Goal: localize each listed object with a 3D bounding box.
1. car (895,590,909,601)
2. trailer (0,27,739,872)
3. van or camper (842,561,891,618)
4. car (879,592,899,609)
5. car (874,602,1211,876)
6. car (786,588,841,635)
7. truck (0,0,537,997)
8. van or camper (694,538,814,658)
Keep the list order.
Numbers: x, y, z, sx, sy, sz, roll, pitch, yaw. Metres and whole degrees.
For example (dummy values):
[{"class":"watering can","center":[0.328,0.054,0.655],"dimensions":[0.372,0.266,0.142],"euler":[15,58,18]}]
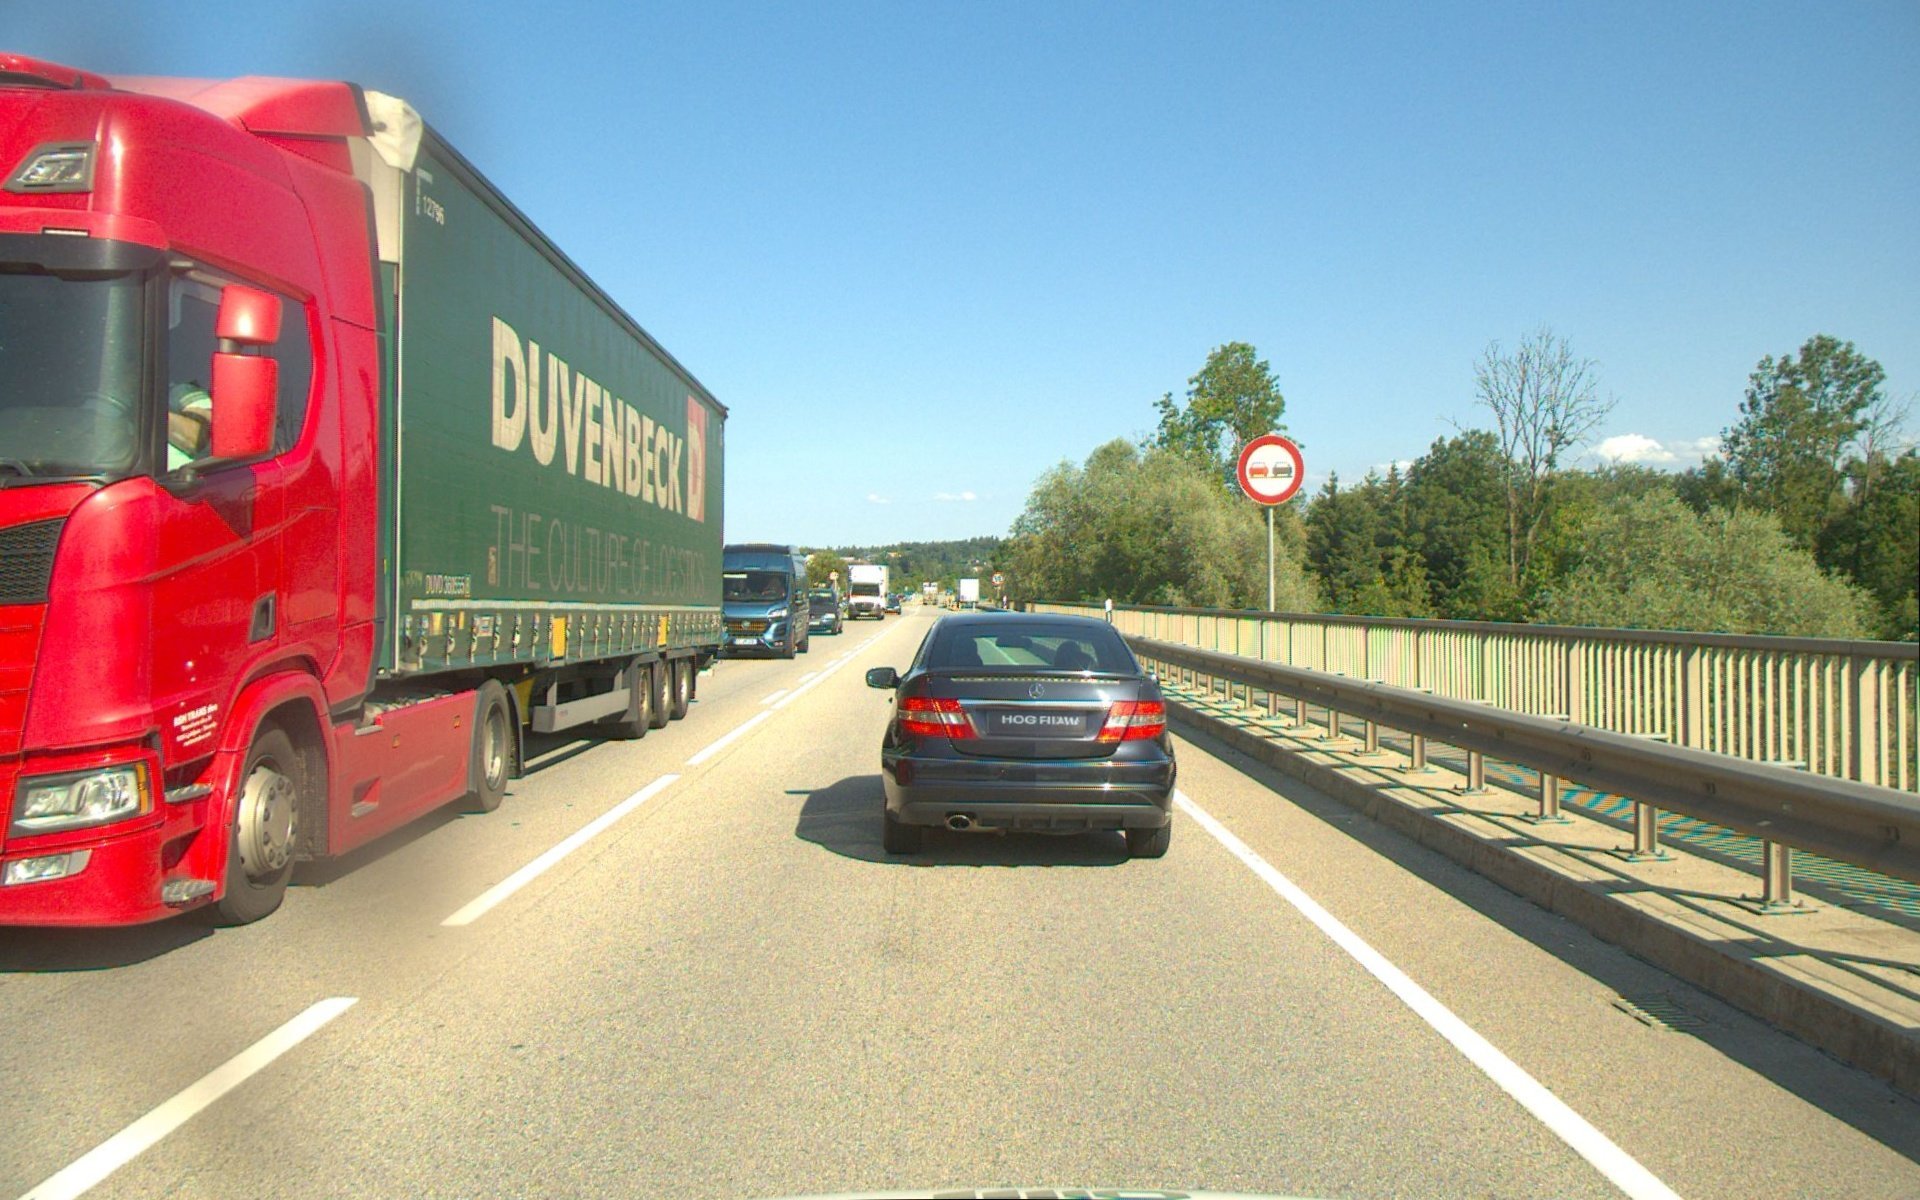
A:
[{"class":"car","center":[-8.861,-0.668,253.055],"dimensions":[1.766,1.634,3.917],"euler":[0,0,3]},{"class":"trailer","center":[-4.452,-0.820,15.747],"dimensions":[2.848,4.377,14.300],"euler":[0,0,0]},{"class":"van or camper","center":[-5.579,-0.639,100.040],"dimensions":[2.582,3.313,7.748],"euler":[0,0,-1]},{"class":"car","center":[-6.028,0.026,139.343],"dimensions":[1.626,1.461,4.185],"euler":[0,0,-3]},{"class":"car","center":[0.445,0.735,10.688],"dimensions":[1.756,1.400,4.000],"euler":[1,0,0]},{"class":"car","center":[-5.415,0.405,61.693],"dimensions":[1.804,1.670,4.575],"euler":[0,0,-2]},{"class":"truck","center":[-4.385,-0.707,8.847],"dimensions":[2.849,4.257,5.712],"euler":[0,0,-1]},{"class":"van or camper","center":[-4.894,-0.060,40.218],"dimensions":[2.381,2.688,6.401],"euler":[0,0,-3]}]
